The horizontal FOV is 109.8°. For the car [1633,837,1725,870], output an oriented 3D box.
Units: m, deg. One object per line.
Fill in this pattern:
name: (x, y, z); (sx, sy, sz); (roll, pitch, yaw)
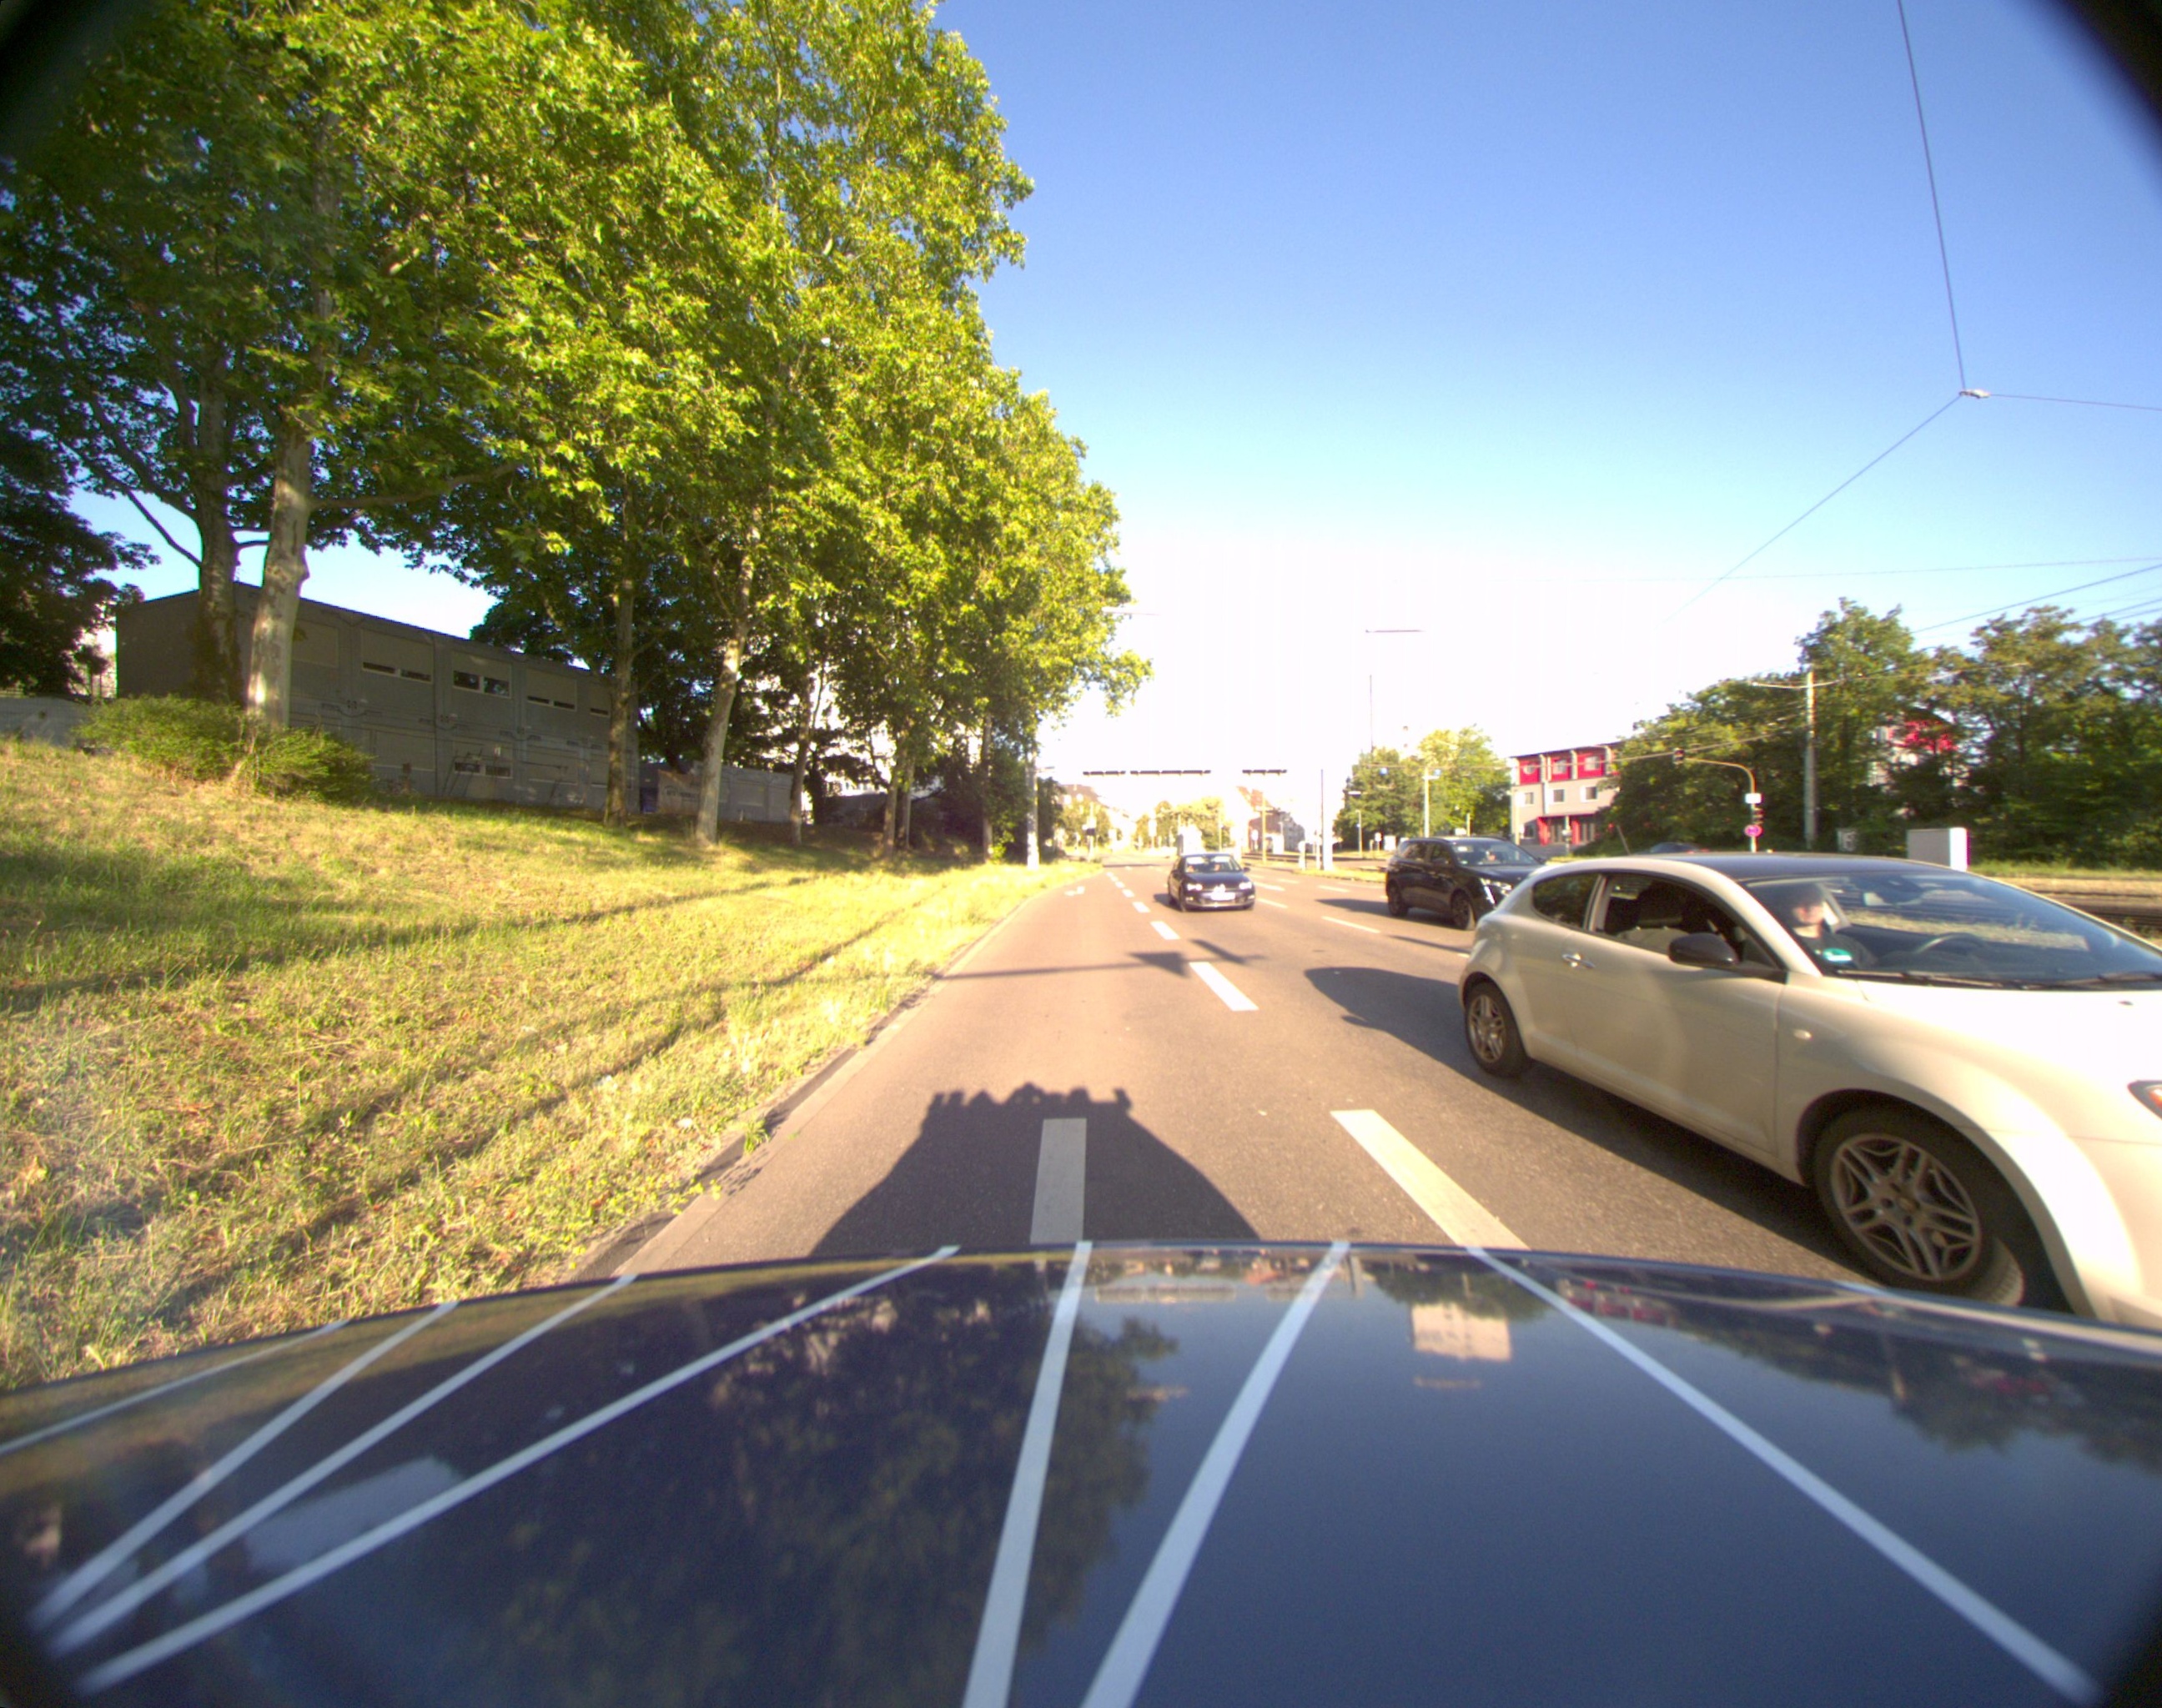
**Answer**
car: (33.185, -0.051, 42.344); (1.752, 1.669, 4.758); (-2, 0, 6)

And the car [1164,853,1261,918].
car: (3.248, 0.725, 19.565); (1.741, 1.429, 3.999); (-2, 1, -1)

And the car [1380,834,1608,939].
car: (7.405, 0.510, 14.209); (1.905, 1.652, 4.276); (-1, 0, -1)

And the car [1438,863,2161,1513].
car: (3.450, 0.826, 3.452); (1.741, 1.496, 3.999); (-1, 0, -1)
